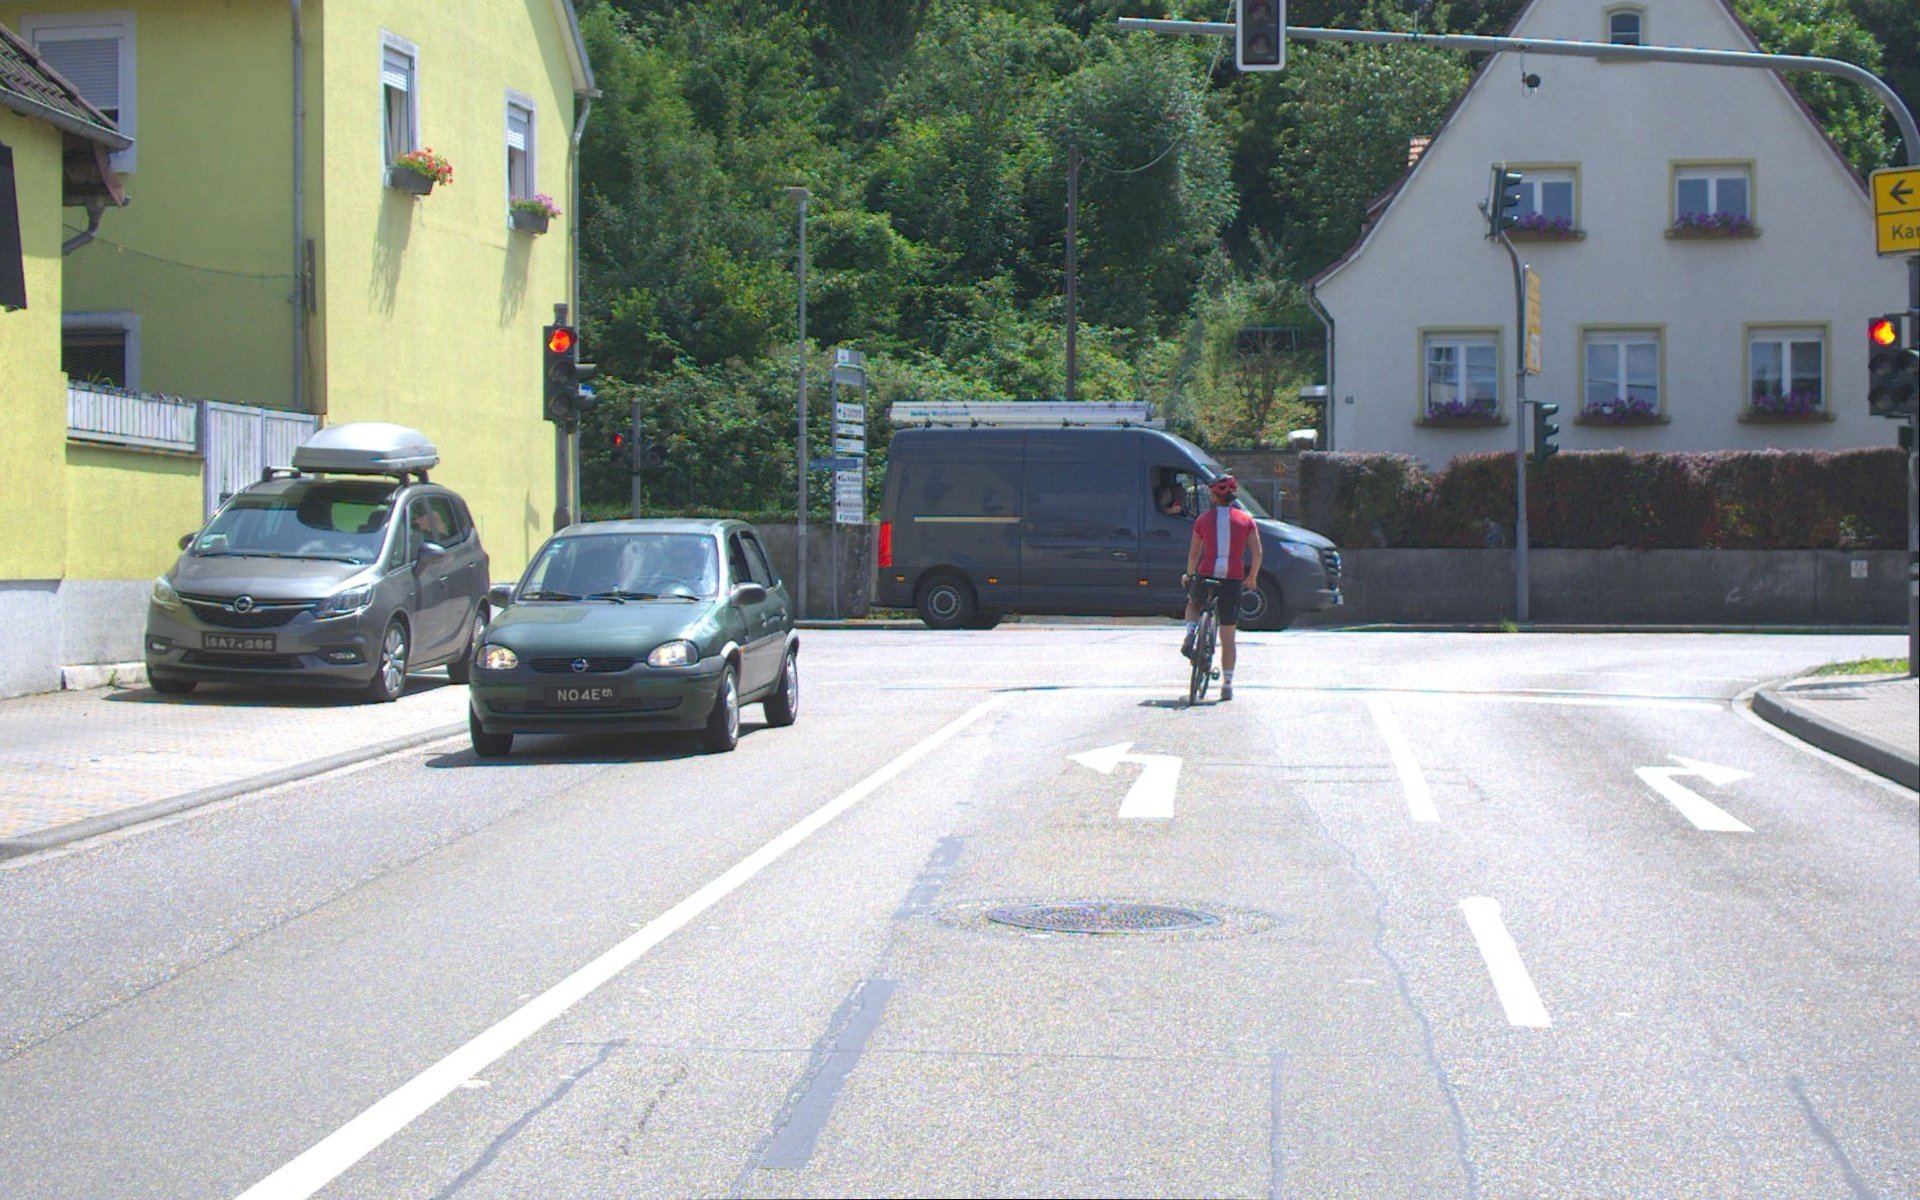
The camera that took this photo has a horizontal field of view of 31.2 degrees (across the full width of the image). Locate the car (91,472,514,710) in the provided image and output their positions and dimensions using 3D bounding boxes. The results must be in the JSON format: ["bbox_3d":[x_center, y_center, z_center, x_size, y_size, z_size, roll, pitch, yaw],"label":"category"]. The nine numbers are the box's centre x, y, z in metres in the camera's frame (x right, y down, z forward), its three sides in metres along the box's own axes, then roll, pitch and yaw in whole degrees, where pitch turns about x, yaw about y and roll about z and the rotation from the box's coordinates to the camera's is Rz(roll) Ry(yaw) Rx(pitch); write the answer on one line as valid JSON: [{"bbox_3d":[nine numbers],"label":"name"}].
[{"bbox_3d":[-4.971,-0.125,26.707,1.994,1.630,4.629,2,2,5],"label":"car"}]

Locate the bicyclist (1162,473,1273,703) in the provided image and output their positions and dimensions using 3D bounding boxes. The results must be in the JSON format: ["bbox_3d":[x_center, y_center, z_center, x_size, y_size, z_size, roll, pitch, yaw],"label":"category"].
[{"bbox_3d":[1.914,-0.096,25.497,0.761,1.659,0.868,1,1,5],"label":"bicyclist"}]

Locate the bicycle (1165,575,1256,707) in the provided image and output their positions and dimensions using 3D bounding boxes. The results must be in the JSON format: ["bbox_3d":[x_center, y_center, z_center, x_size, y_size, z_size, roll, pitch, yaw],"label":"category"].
[{"bbox_3d":[1.869,0.290,25.513,0.630,0.902,1.657,1,2,5],"label":"bicycle"}]

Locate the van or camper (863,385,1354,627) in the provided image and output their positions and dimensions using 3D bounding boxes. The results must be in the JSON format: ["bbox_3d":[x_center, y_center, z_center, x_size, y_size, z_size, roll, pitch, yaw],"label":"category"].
[{"bbox_3d":[1.938,-1.213,44.266,5.996,2.994,2.217,1,1,13],"label":"van or camper"}]

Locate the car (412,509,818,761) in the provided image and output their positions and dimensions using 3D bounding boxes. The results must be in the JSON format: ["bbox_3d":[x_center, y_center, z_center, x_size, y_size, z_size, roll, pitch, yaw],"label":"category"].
[{"bbox_3d":[-2.082,0.156,21.823,1.780,1.428,3.871,-1,1,6],"label":"car"}]
